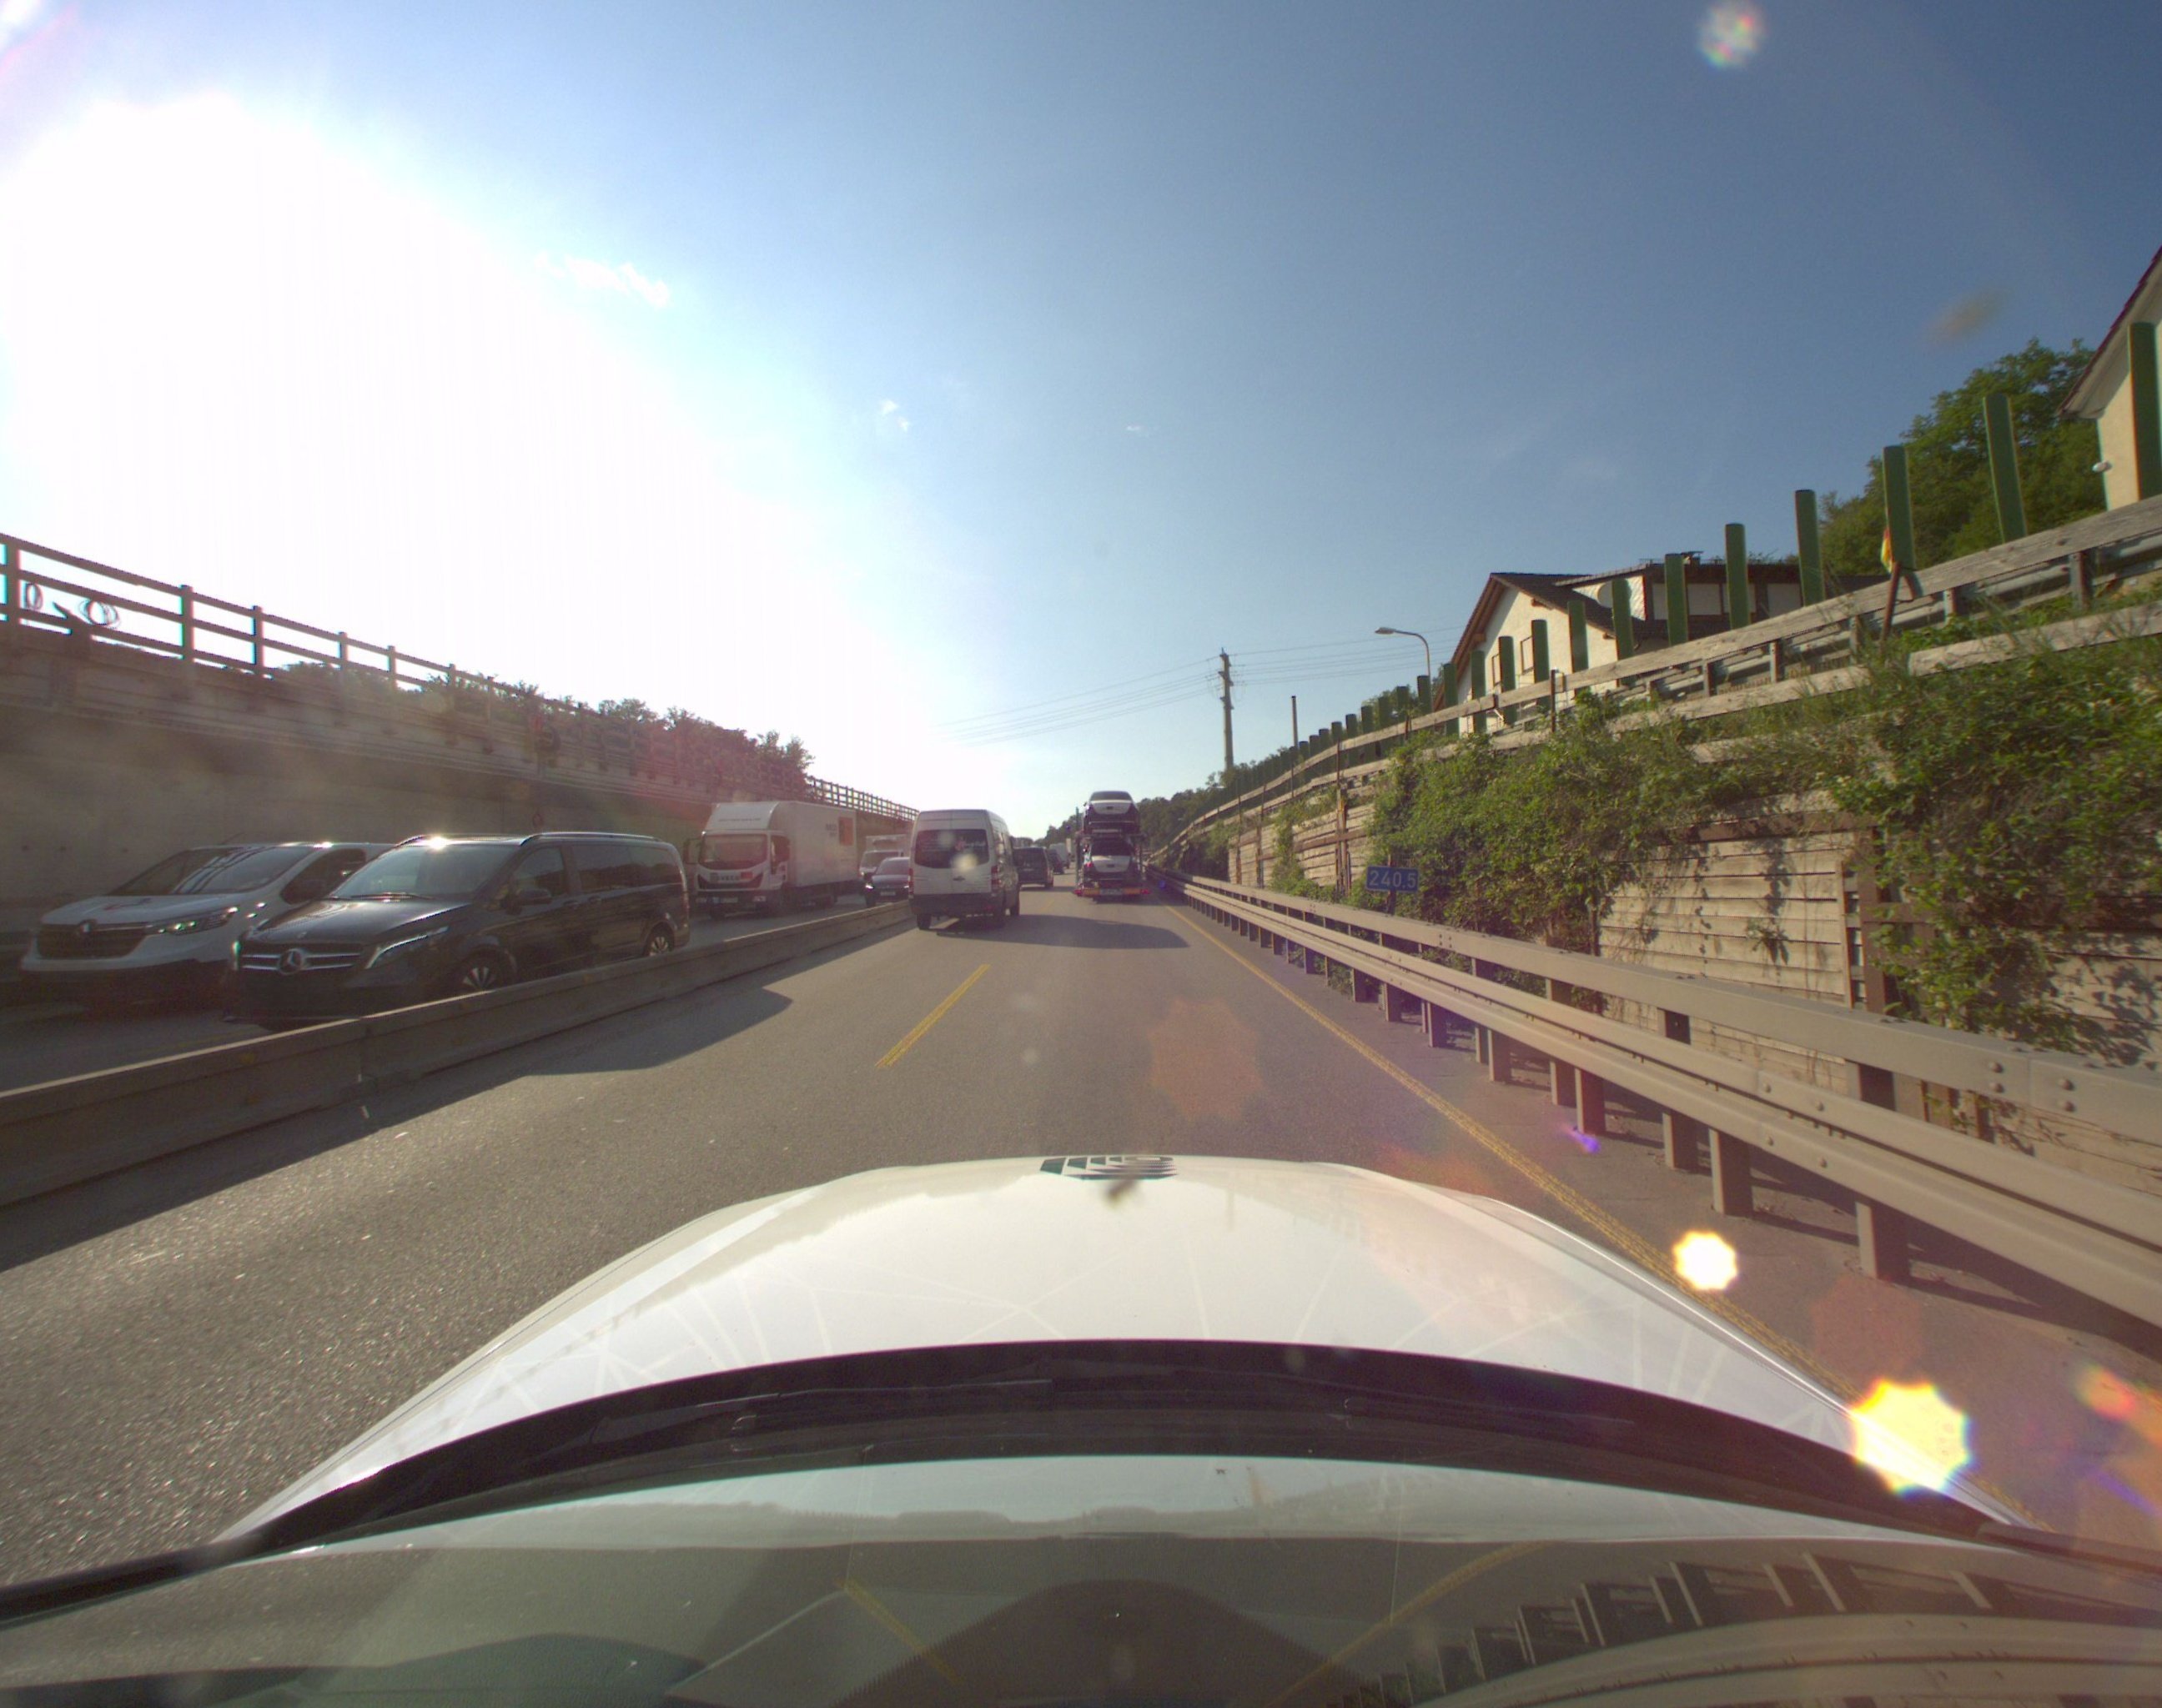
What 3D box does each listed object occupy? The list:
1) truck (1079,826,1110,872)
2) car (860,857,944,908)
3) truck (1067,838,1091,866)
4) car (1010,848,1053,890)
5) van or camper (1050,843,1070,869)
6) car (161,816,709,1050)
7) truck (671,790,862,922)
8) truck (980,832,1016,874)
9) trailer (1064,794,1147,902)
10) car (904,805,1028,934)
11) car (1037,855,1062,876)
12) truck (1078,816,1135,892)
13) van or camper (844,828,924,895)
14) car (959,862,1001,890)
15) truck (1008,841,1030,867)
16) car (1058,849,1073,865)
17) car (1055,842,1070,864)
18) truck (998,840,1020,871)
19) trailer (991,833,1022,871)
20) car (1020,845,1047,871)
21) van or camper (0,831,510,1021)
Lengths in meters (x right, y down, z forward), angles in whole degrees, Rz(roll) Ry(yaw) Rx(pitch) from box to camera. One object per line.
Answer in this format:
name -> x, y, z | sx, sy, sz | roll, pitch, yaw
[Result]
truck -> 1.325, -0.519, 86.142 | 2.899, 4.606, 7.281 | -1, 0, -1
car -> -6.170, 0.961, 28.609 | 1.825, 1.645, 4.690 | 0, -1, 1
truck -> -0.349, -0.285, 145.456 | 4.052, 4.679, 10.589 | -1, 0, 0
car -> -2.317, 0.721, 38.970 | 1.802, 1.904, 3.999 | 0, -1, 0
van or camper -> -2.162, 0.254, 85.480 | 1.962, 2.592, 5.041 | 0, -1, 0
car -> -6.570, 0.670, 9.402 | 1.978, 1.922, 5.292 | 0, 0, 1
truck -> -9.627, 0.120, 26.161 | 2.705, 3.424, 8.141 | -4, -1, 1
truck -> -8.805, -0.131, 87.409 | 2.616, 4.112, 9.625 | -4, 0, 0
trailer -> 1.076, -0.079, 34.363 | 2.672, 3.535, 15.294 | 0, -1, 2
car -> -2.596, 0.333, 19.791 | 1.986, 2.648, 5.532 | -2, 0, 2
car -> -2.398, 0.869, 63.368 | 1.719, 1.522, 3.973 | 0, 0, 0
truck -> 1.315, 0.065, 41.929 | 2.672, 3.535, 7.196 | 0, -1, 2
van or camper -> -9.604, 0.391, 40.316 | 2.312, 2.989, 6.223 | -2, -1, 0
car -> -5.713, 1.231, 46.308 | 1.758, 1.450, 4.459 | 0, 0, 1
truck -> -10.566, 0.047, 139.393 | 2.975, 4.153, 15.843 | 0, 0, -2
car -> -2.151, 0.403, 113.440 | 1.879, 2.100, 3.766 | -1, -1, 1
car -> -4.444, -0.194, 190.769 | 3.436, 5.035, 9.645 | 0, 0, -2
truck -> -9.728, 0.256, 110.371 | 2.703, 4.093, 6.197 | -1, 0, -3
trailer -> -8.806, -0.199, 97.081 | 2.598, 4.112, 9.626 | -4, 0, 0
car -> -4.916, 0.435, 84.953 | 2.463, 2.534, 4.001 | -1, -1, 1
van or camper -> -10.268, 0.749, 10.740 | 1.910, 1.922, 4.924 | 0, 0, 1
